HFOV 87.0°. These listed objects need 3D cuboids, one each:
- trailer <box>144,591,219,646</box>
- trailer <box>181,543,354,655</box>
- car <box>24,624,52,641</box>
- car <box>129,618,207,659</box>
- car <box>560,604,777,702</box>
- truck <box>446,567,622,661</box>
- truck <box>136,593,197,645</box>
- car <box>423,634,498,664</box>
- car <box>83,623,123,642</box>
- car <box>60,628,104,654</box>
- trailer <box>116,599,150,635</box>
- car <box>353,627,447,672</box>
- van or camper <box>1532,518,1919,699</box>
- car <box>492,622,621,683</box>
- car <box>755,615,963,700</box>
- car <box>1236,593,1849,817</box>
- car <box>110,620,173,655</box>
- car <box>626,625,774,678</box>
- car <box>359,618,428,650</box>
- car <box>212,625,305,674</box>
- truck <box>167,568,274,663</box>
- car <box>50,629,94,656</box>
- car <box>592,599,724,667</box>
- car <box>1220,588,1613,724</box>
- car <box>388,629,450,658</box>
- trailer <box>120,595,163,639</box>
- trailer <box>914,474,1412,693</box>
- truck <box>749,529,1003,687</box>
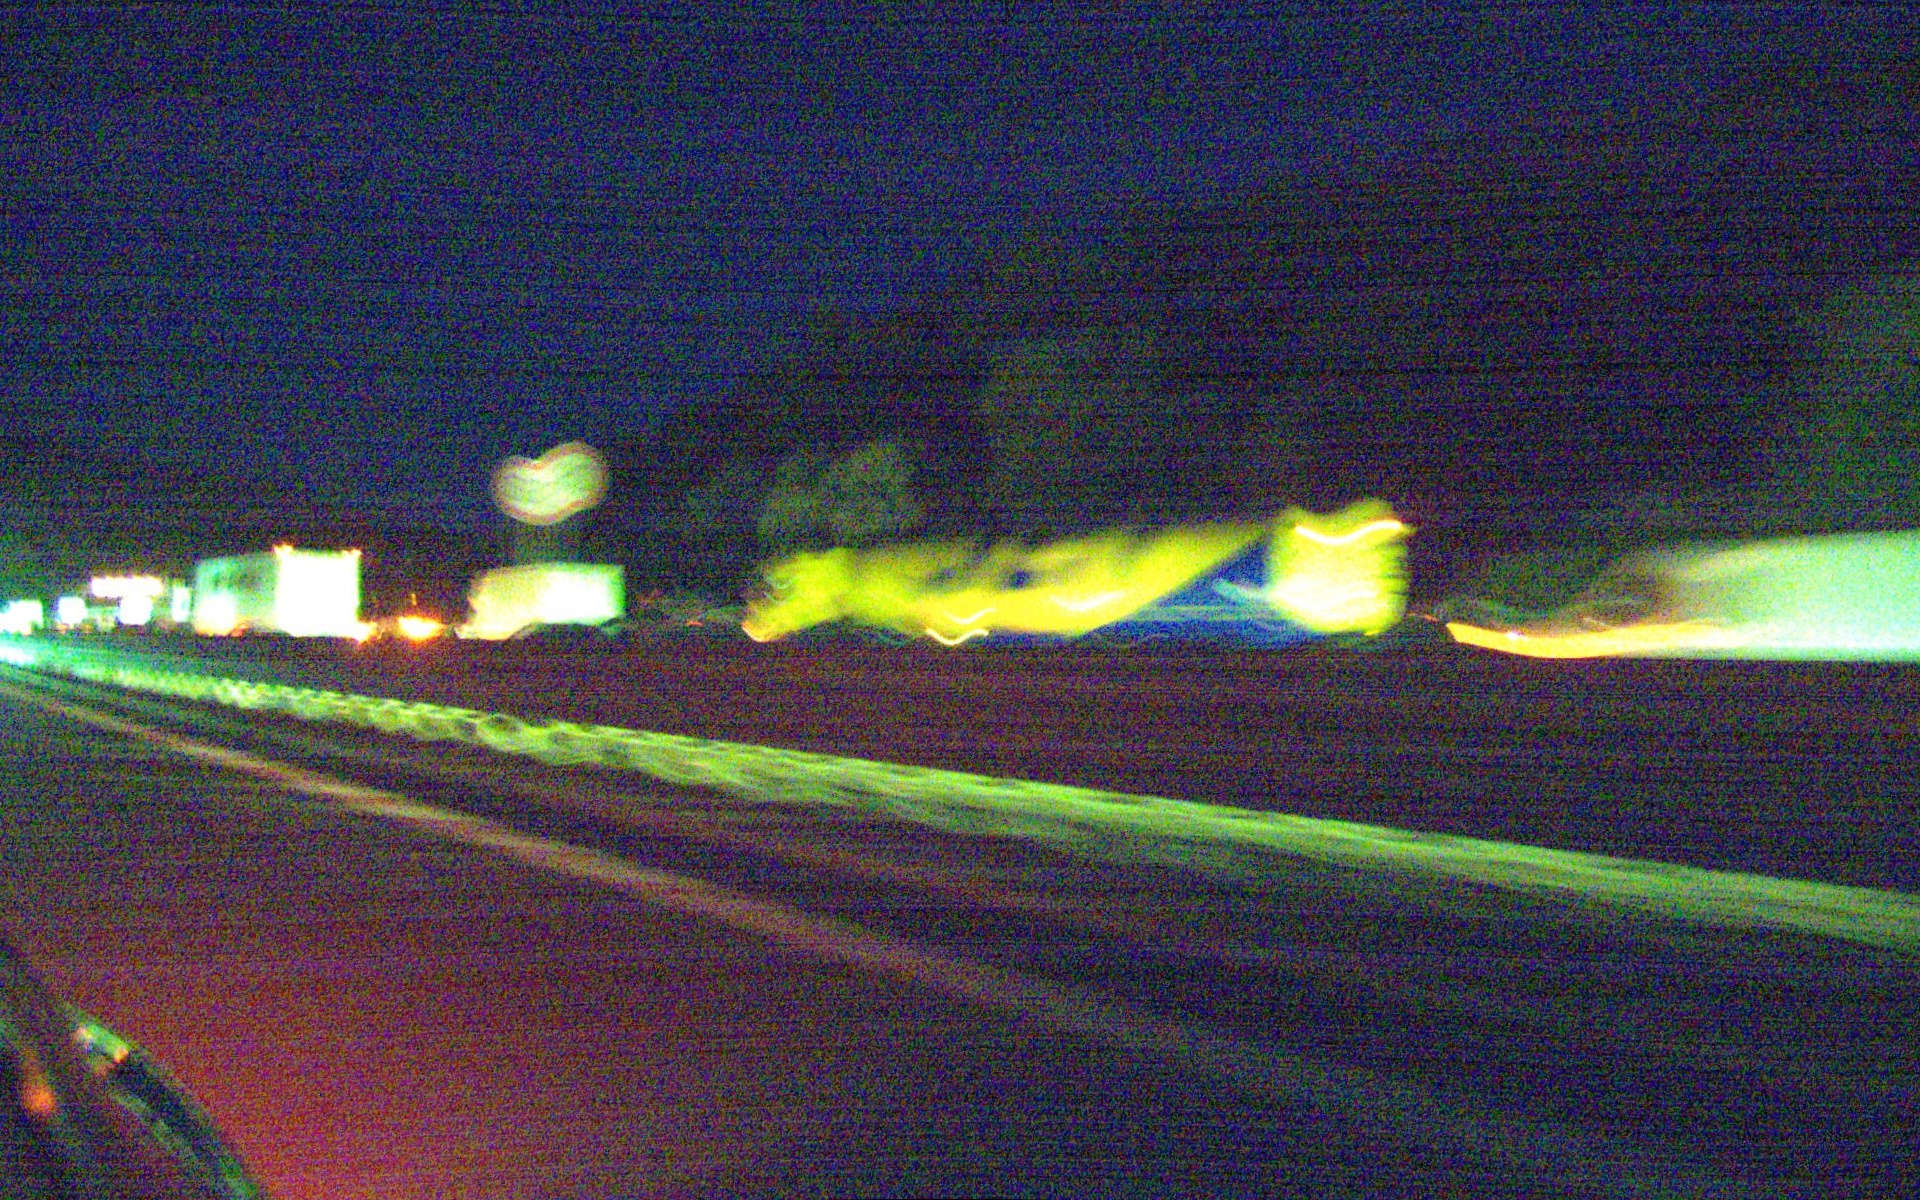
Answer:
[{"bbox_3d":[-58.784,1.472,76.348,8.735,3.947,2.790,-2,-3,42],"label":"trailer"},{"bbox_3d":[-29.231,-0.107,42.360,12.447,4.118,3.058,0,2,42],"label":"trailer"},{"bbox_3d":[-75.387,2.644,82.736,1.609,1.360,4.004,0,-1,-43],"label":"car"},{"bbox_3d":[-30.452,1.459,38.873,1.852,1.437,4.515,-1,-1,-45],"label":"car"},{"bbox_3d":[-4.770,0.785,16.236,4.001,1.364,1.553,-1,-1,44],"label":"car"},{"bbox_3d":[-15.180,0.505,35.676,8.171,2.981,2.530,-1,-1,43],"label":"truck"},{"bbox_3d":[-62.369,1.584,79.515,4.933,3.946,2.798,-2,-3,41],"label":"truck"},{"bbox_3d":[-24.186,2.352,48.966,4.573,1.364,1.554,-1,-2,40],"label":"car"},{"bbox_3d":[-67.564,2.540,79.770,4.652,1.454,1.925,-1,-2,44],"label":"car"},{"bbox_3d":[-49.437,2.273,56.971,1.682,1.437,4.517,2,-2,-43],"label":"car"},{"bbox_3d":[-100.701,2.150,123.132,2.839,4.216,14.546,2,-2,-40],"label":"trailer"},{"bbox_3d":[-18.408,1.580,33.179,4.162,1.325,1.553,-1,-1,44],"label":"car"},{"bbox_3d":[11.417,0.096,12.209,7.631,2.029,2.166,-1,-1,38],"label":"van or camper"},{"bbox_3d":[-10.104,1.247,25.212,1.552,1.364,4.002,0,-1,-45],"label":"car"},{"bbox_3d":[-1.922,0.974,18.415,4.001,1.364,1.553,-1,-1,44],"label":"car"},{"bbox_3d":[4.420,0.666,8.111,4.000,1.364,1.553,-1,-1,43],"label":"car"},{"bbox_3d":[-37.871,1.708,46.787,1.822,1.437,4.515,-3,1,-45],"label":"car"},{"bbox_3d":[-7.192,1.361,27.747,4.573,1.364,1.554,-1,-2,40],"label":"car"},{"bbox_3d":[-25.132,1.473,44.850,4.162,1.325,1.553,-1,-1,44],"label":"car"},{"bbox_3d":[-21.310,1.454,30.690,4.001,1.364,1.553,-1,-1,44],"label":"car"},{"bbox_3d":[-35.131,0.635,47.998,3.072,4.127,7.082,-3,2,-44],"label":"truck"},{"bbox_3d":[-55.695,2.636,63.453,1.812,1.565,4.516,2,-2,-44],"label":"car"},{"bbox_3d":[-11.142,1.180,37.164,4.785,2.312,2.434,-1,-1,40],"label":"car"},{"bbox_3d":[5.316,0.596,12.134,4.001,1.364,1.553,-1,-1,44],"label":"car"},{"bbox_3d":[-28.220,2.243,52.760,3.772,1.488,1.636,-1,-2,41],"label":"car"},{"bbox_3d":[-90.508,1.940,111.834,2.805,4.498,14.540,3,-3,-42],"label":"trailer"},{"bbox_3d":[3.275,-0.281,18.795,9.001,3.199,2.579,0,2,42],"label":"trailer"},{"bbox_3d":[-2.083,0.113,23.631,5.794,3.243,2.616,0,2,42],"label":"truck"}]
